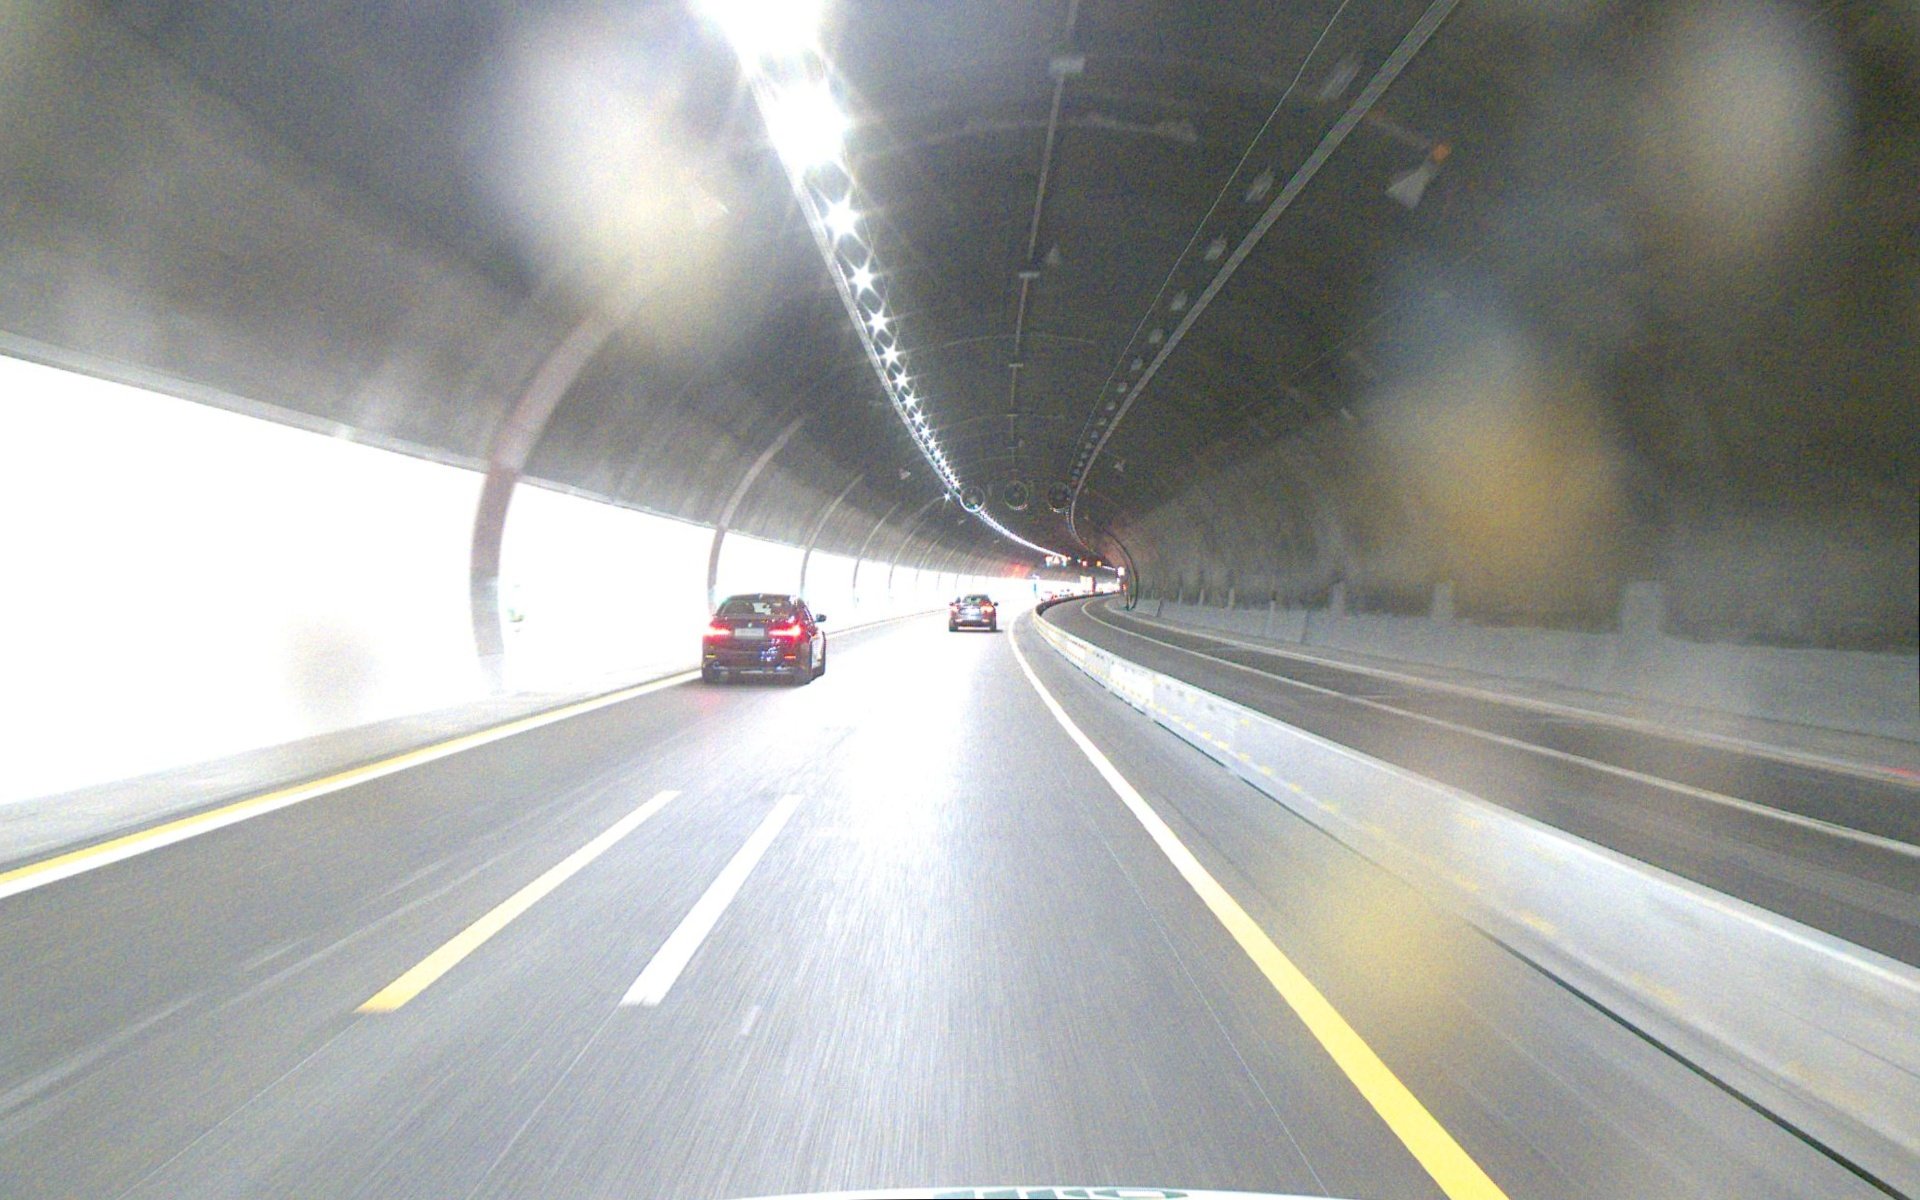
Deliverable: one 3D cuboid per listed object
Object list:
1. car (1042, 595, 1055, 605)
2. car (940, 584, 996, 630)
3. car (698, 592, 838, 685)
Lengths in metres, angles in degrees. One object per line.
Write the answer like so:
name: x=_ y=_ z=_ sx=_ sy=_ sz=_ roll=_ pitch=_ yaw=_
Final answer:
car: x=11.970 y=-0.025 z=223.523 sx=1.561 sy=1.356 sz=3.752 roll=0 pitch=0 yaw=4
car: x=0.353 y=0.254 z=64.870 sx=2.096 sy=1.735 sz=4.001 roll=0 pitch=0 yaw=1
car: x=-3.229 y=0.599 z=28.734 sx=1.741 sy=1.463 sz=4.883 roll=1 pitch=0 yaw=1
